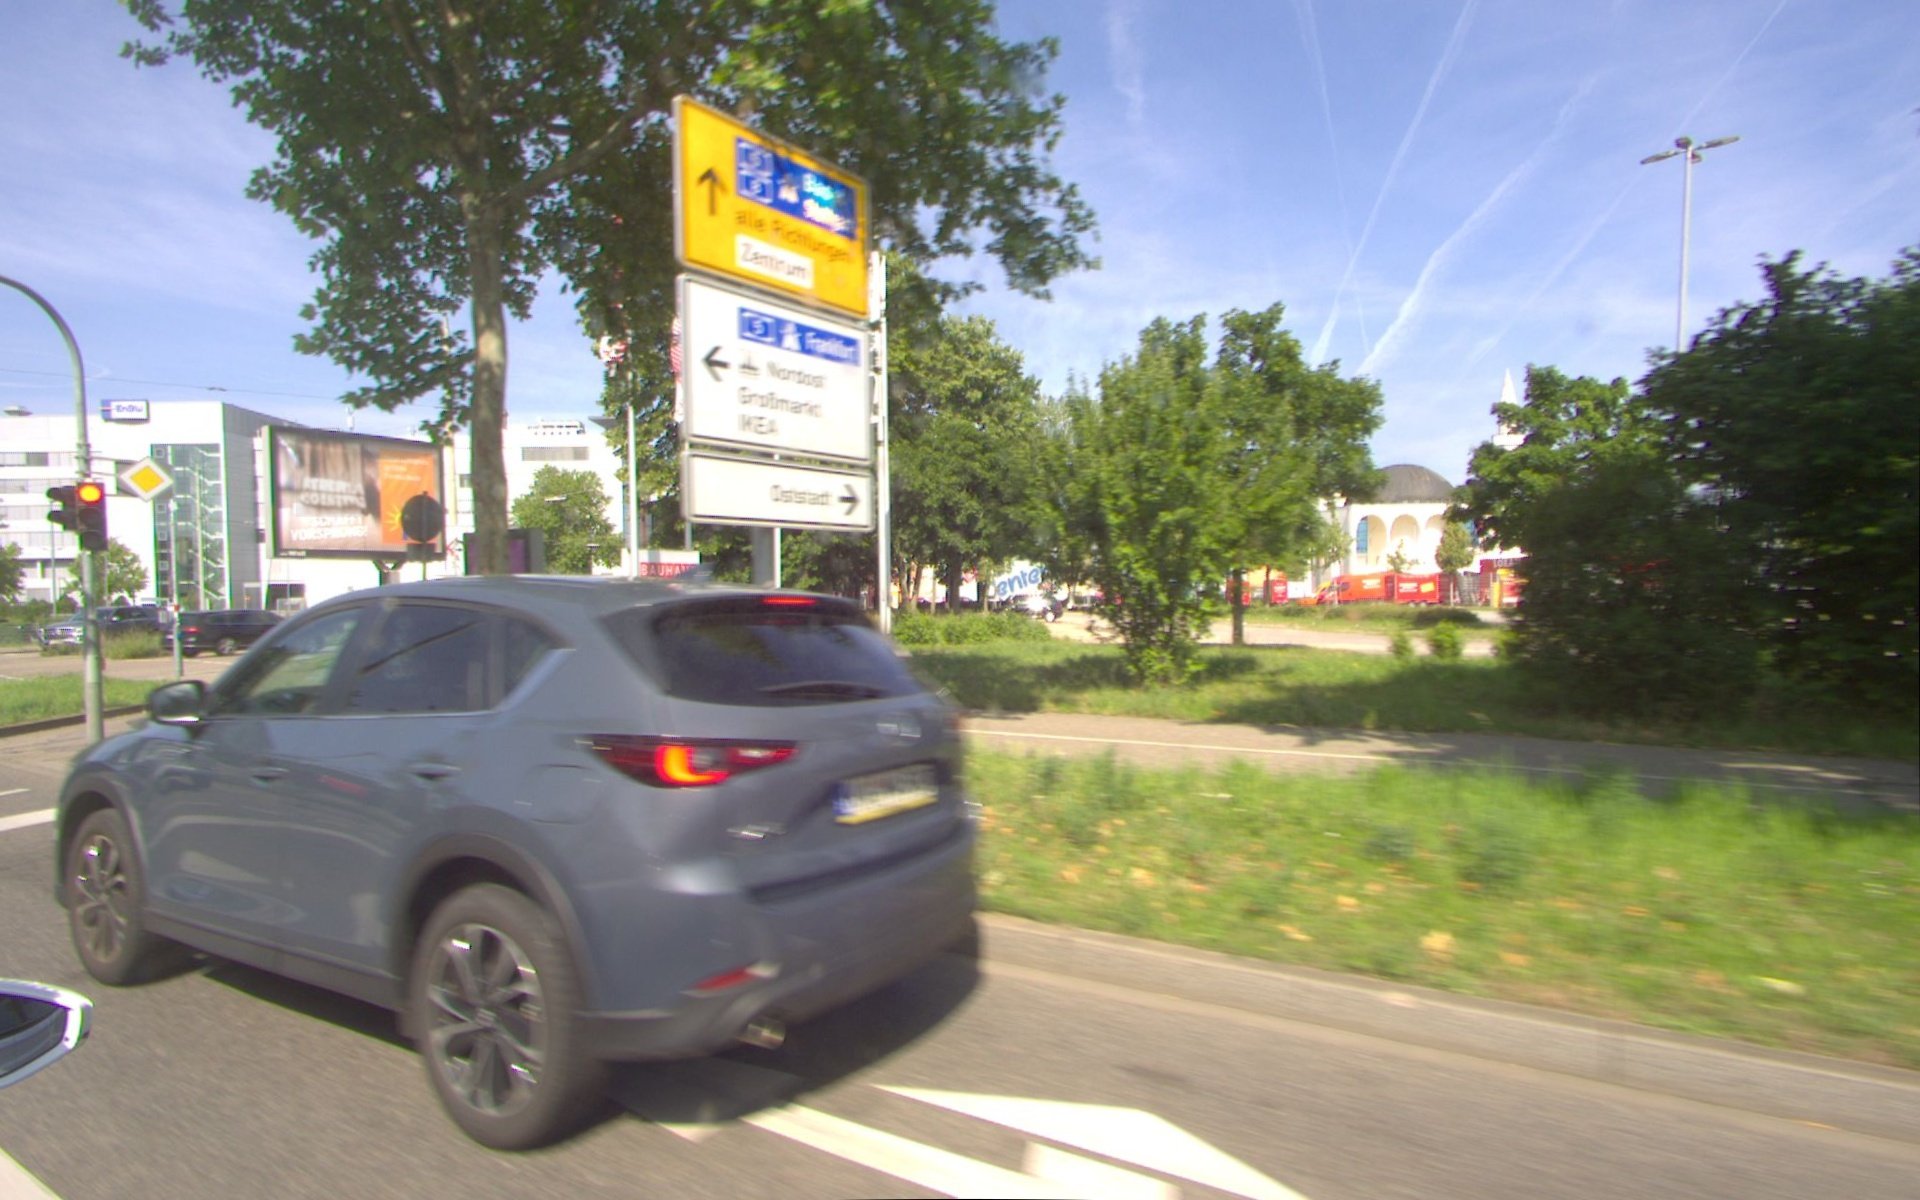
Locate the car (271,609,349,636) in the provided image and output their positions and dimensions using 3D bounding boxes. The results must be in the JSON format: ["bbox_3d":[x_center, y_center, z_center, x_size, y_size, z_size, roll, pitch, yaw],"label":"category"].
[{"bbox_3d":[-37.811,1.279,58.372,1.747,1.463,4.625,-1,0,-4],"label":"car"}]

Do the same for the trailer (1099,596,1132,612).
[{"bbox_3d":[13.209,0.330,85.378,1.560,1.304,4.409,-1,0,-7],"label":"trailer"}]

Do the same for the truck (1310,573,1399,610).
[{"bbox_3d":[29.469,-0.639,74.905,5.914,2.644,2.018,0,1,-6],"label":"truck"}]

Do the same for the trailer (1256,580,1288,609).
[{"bbox_3d":[27.033,-0.488,86.910,1.520,2.390,4.410,0,1,2],"label":"trailer"}]

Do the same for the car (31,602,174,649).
[{"bbox_3d":[-34.003,0.972,39.900,1.879,1.711,4.625,-1,0,-4],"label":"car"}]

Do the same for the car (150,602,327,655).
[{"bbox_3d":[-23.318,0.882,32.582,1.819,1.530,4.384,-1,0,20],"label":"car"}]

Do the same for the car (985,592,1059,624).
[{"bbox_3d":[3.383,0.434,54.768,3.972,1.608,1.730,-1,0,4],"label":"car"}]

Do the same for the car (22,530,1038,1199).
[{"bbox_3d":[-2.034,0.735,4.263,4.431,1.680,1.763,-1,-1,32],"label":"car"}]

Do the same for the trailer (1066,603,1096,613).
[{"bbox_3d":[10.195,0.649,84.631,2.059,0.792,4.411,-1,0,1],"label":"trailer"}]

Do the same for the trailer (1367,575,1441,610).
[{"bbox_3d":[30.644,-0.534,69.169,4.325,2.409,1.751,0,1,0],"label":"trailer"}]

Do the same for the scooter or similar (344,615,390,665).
[{"bbox_3d":[-13.759,0.922,23.232,1.107,1.141,0.423,-1,1,32],"label":"scooter or similar"}]

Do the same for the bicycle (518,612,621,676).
[{"bbox_3d":[-7.667,0.847,19.716,1.771,1.123,0.499,-3,2,-40],"label":"bicycle"}]

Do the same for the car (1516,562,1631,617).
[{"bbox_3d":[31.652,-0.504,51.941,1.980,2.576,5.686,-3,0,-6],"label":"car"}]

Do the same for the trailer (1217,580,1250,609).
[{"bbox_3d":[23.886,-0.492,87.528,1.560,2.408,4.410,0,1,-1],"label":"trailer"}]
